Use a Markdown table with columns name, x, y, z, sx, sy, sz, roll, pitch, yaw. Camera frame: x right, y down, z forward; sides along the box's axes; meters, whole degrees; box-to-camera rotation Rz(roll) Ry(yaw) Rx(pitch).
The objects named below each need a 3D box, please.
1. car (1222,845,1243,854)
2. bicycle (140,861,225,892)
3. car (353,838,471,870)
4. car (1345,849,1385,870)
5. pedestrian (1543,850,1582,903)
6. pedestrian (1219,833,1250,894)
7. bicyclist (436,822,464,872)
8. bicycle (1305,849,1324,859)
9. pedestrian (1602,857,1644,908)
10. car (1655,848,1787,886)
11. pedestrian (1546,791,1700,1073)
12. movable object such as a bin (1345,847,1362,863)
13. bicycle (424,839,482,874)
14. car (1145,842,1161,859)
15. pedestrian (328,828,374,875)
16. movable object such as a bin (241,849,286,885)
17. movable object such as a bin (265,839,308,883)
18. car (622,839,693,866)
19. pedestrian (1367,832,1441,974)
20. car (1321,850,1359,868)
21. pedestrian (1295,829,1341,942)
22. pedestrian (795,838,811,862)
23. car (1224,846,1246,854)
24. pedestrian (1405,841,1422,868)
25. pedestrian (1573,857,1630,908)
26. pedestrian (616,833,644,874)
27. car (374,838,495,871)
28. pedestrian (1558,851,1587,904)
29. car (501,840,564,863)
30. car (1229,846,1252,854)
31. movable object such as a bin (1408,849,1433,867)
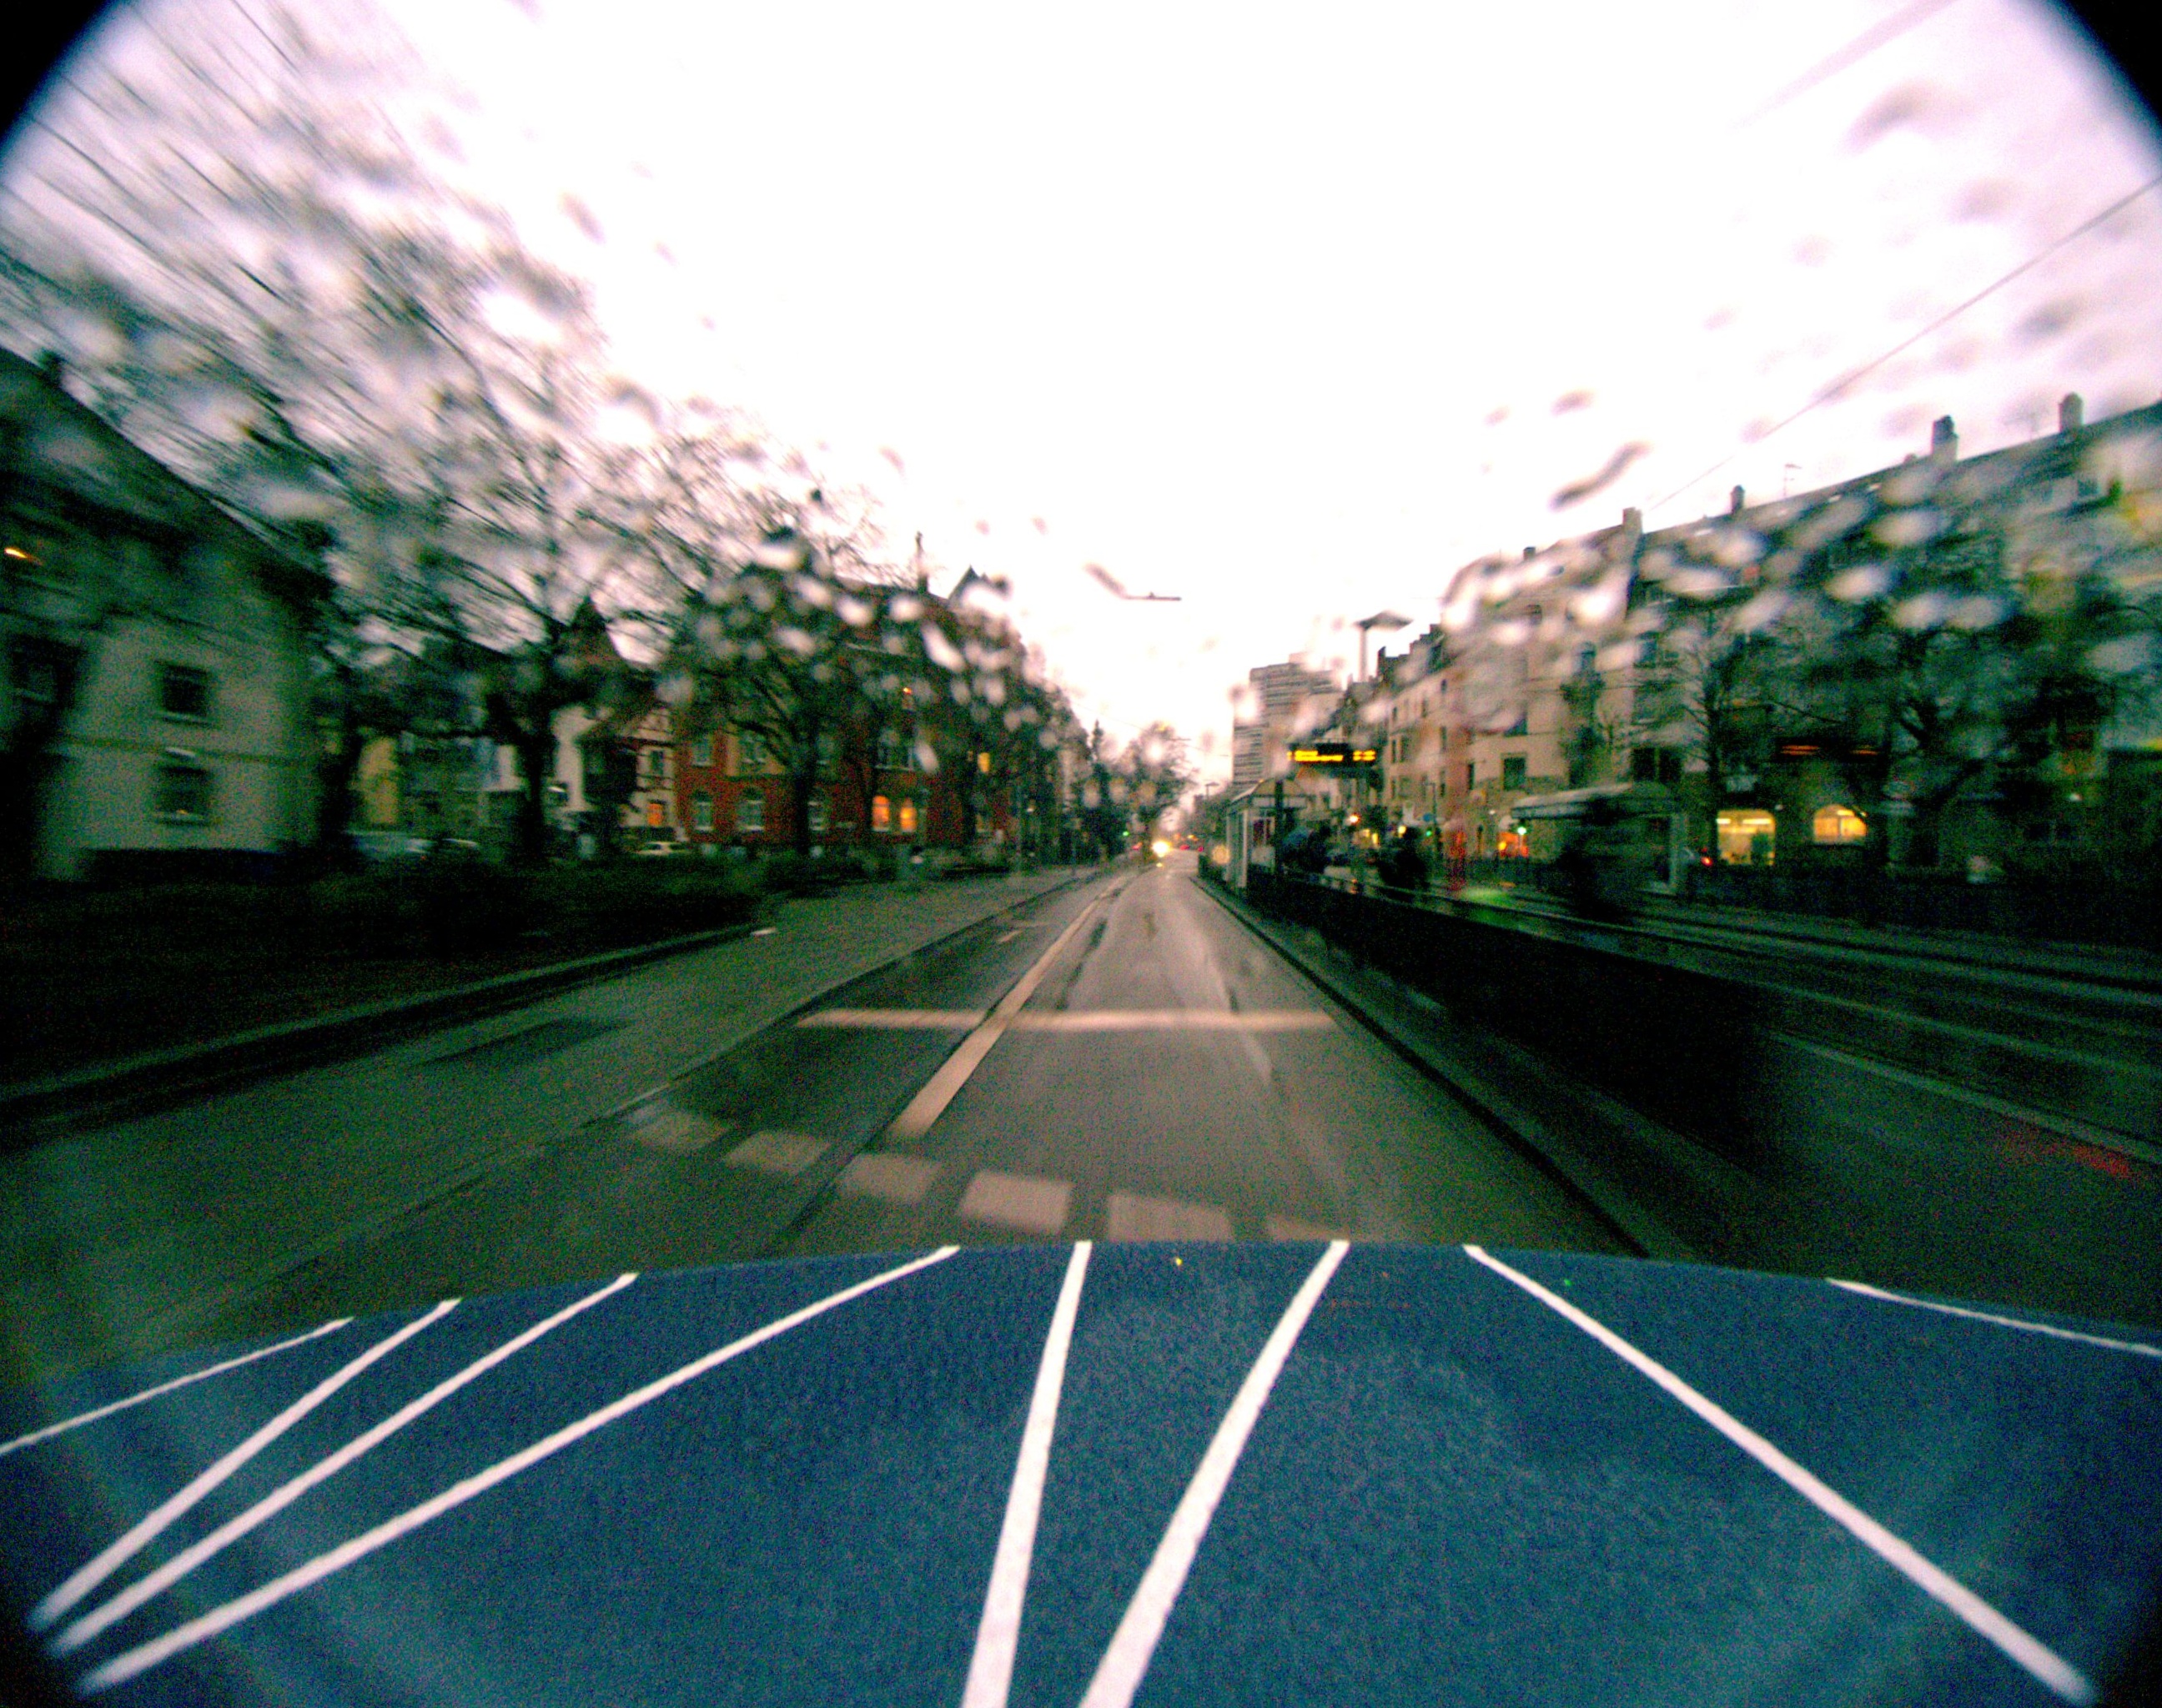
| name | x | y | z | sx | sy | sz | roll | pitch | yaw |
| --- | --- | --- | --- | --- | --- | --- | --- | --- | --- |
| car | 30.312 | -0.970 | 152.022 | 3.838 | 1.707 | 1.728 | -2 | 1 | 6 |
| bicycle | -24.019 | 0.587 | 20.350 | 0.339 | 0.761 | 1.589 | 1 | 1 | 3 |
| car | -32.844 | -0.031 | 37.418 | 1.845 | 1.467 | 4.008 | 1 | 1 | 33 |
| car | 22.437 | 0.416 | 60.172 | 1.676 | 1.507 | 3.678 | -2 | 1 | -1 |
| pedestrian | 13.267 | 0.611 | 20.942 | 0.685 | 1.395 | 0.578 | -2 | 1 | 5 |
| pedestrian | 4.976 | 0.296 | 24.663 | 0.855 | 1.944 | 0.571 | -2 | 1 | 6 |
| bicyclist | -23.993 | -0.264 | 28.891 | 0.467 | 1.876 | 0.679 | 1 | 2 | 5 |
| bicycle | 26.833 | 0.010 | 87.424 | 1.988 | 1.152 | 0.531 | -2 | 1 | 5 |
| pedestrian | 13.308 | 0.692 | 18.672 | 0.654 | 1.211 | 0.517 | -2 | 1 | 5 |
| car | 28.966 | 0.536 | 34.590 | 4.331 | 1.574 | 1.941 | 1 | 1 | 33 |
| pedestrian | 3.921 | 0.536 | 5.559 | 0.687 | 1.906 | 0.718 | -2 | 1 | 17 |
| movable object such as a bin | 25.712 | 0.066 | 71.764 | 1.239 | 1.423 | 1.074 | -2 | 1 | 4 |
| bicycle | -23.983 | 0.087 | 29.069 | 0.467 | 1.284 | 1.914 | 1 | 1 | 5 |
| car | 8.550 | -0.418 | 90.170 | 1.725 | 1.934 | 4.509 | -2 | 1 | 4 |
| pedestrian | -25.961 | -0.095 | 27.037 | 1.119 | 1.633 | 0.761 | 1 | 2 | 21 |
| movable object such as a bin | -22.355 | 0.345 | 20.797 | 0.528 | 0.975 | 0.650 | 1 | 1 | -7 |
| movable object such as a bin | -22.484 | 0.189 | 21.510 | 0.528 | 1.221 | 0.650 | 1 | 1 | -7 |
| car | -24.937 | -0.092 | 44.751 | 3.989 | 1.487 | 1.651 | 1 | 1 | 25 |
| pedestrian | 3.988 | 0.591 | 9.426 | 0.658 | 1.698 | 0.571 | -2 | 1 | 6 |
| car | 22.326 | 0.387 | 65.704 | 1.806 | 1.382 | 4.508 | -2 | 1 | 2 |
| pedestrian | 3.886 | 0.508 | 12.473 | 0.558 | 1.797 | 0.571 | -2 | 1 | 6 |
| pedestrian | -15.448 | -0.213 | 42.263 | 0.545 | 1.309 | 0.609 | 0 | 1 | 25 |
| car | 28.699 | -0.735 | 141.231 | 3.838 | 1.405 | 1.728 | -2 | 1 | 6 |
| pedestrian | 22.990 | 0.042 | 52.521 | 0.796 | 1.867 | 0.896 | -1 | 2 | 41 |
| pedestrian | 13.256 | 0.719 | 19.369 | 1.058 | 1.247 | 0.506 | -2 | 1 | 5 |
| pedestrian | -21.003 | -0.040 | 35.384 | 0.876 | 1.853 | 0.816 | 2 | 2 | 32 |
| car | -30.581 | -0.007 | 36.053 | 1.845 | 1.477 | 4.008 | 1 | 1 | 33 |
| pedestrian | 13.225 | 0.621 | 20.443 | 0.474 | 1.395 | 0.453 | -2 | 1 | 5 |
| car | -36.553 | -0.185 | 50.628 | 3.989 | 1.390 | 1.651 | 1 | 1 | 25 |
| car | 28.428 | -0.729 | 135.407 | 3.838 | 1.405 | 1.728 | -2 | 1 | 6 |
| movable object such as a bin | 26.542 | 0.307 | 59.396 | 1.352 | 1.364 | 1.281 | -2 | 1 | 4 |
